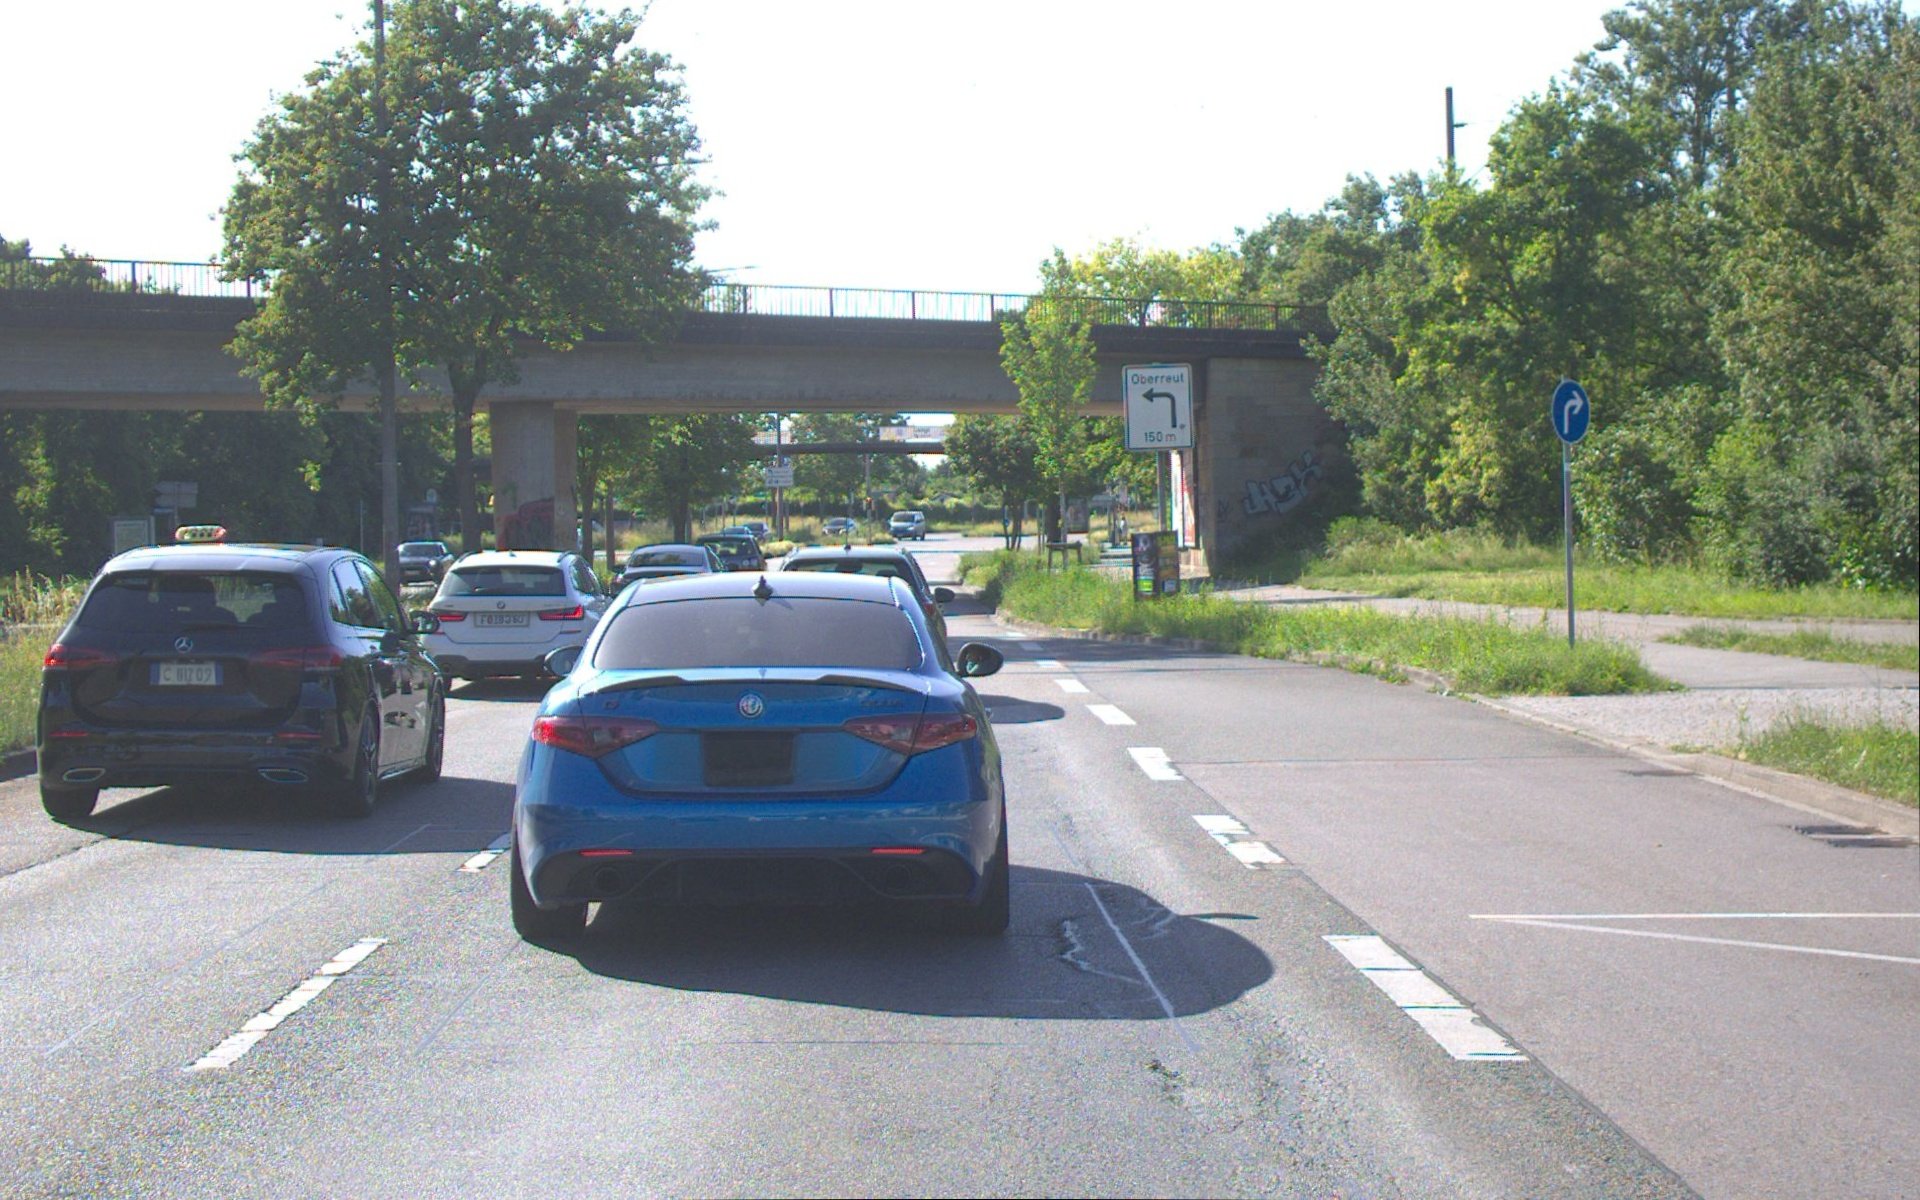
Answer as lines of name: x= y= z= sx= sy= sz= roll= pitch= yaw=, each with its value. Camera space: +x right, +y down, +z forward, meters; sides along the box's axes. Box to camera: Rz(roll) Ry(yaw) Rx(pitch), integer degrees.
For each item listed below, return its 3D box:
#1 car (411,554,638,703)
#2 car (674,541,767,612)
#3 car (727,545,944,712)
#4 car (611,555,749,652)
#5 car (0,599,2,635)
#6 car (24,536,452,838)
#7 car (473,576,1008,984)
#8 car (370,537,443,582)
car: x=-4.495 y=0.246 z=36.081 sx=1.883 sy=1.449 sz=4.527 roll=0 pitch=1 yaw=-1
car: x=-5.203 y=-0.531 z=75.134 sx=1.779 sy=1.449 sz=4.182 roll=-1 pitch=1 yaw=-1
car: x=-1.125 y=0.216 z=32.218 sx=1.883 sy=1.449 sz=4.527 roll=0 pitch=1 yaw=-1
car: x=-4.371 y=0.021 z=54.228 sx=1.883 sy=1.449 sz=4.527 roll=0 pitch=1 yaw=-1
car: x=-20.898 y=0.087 z=69.327 sx=1.914 sy=1.449 sz=4.490 roll=-3 pitch=1 yaw=-1
car: x=-4.128 y=0.429 z=20.290 sx=1.708 sy=1.592 sz=4.224 roll=0 pitch=1 yaw=-1
car: x=-0.811 y=0.622 z=14.252 sx=1.883 sy=1.401 sz=4.224 roll=0 pitch=1 yaw=-1
car: x=-18.457 y=-1.352 z=114.838 sx=1.816 sy=1.437 sz=4.090 roll=-2 pitch=1 yaw=-1
